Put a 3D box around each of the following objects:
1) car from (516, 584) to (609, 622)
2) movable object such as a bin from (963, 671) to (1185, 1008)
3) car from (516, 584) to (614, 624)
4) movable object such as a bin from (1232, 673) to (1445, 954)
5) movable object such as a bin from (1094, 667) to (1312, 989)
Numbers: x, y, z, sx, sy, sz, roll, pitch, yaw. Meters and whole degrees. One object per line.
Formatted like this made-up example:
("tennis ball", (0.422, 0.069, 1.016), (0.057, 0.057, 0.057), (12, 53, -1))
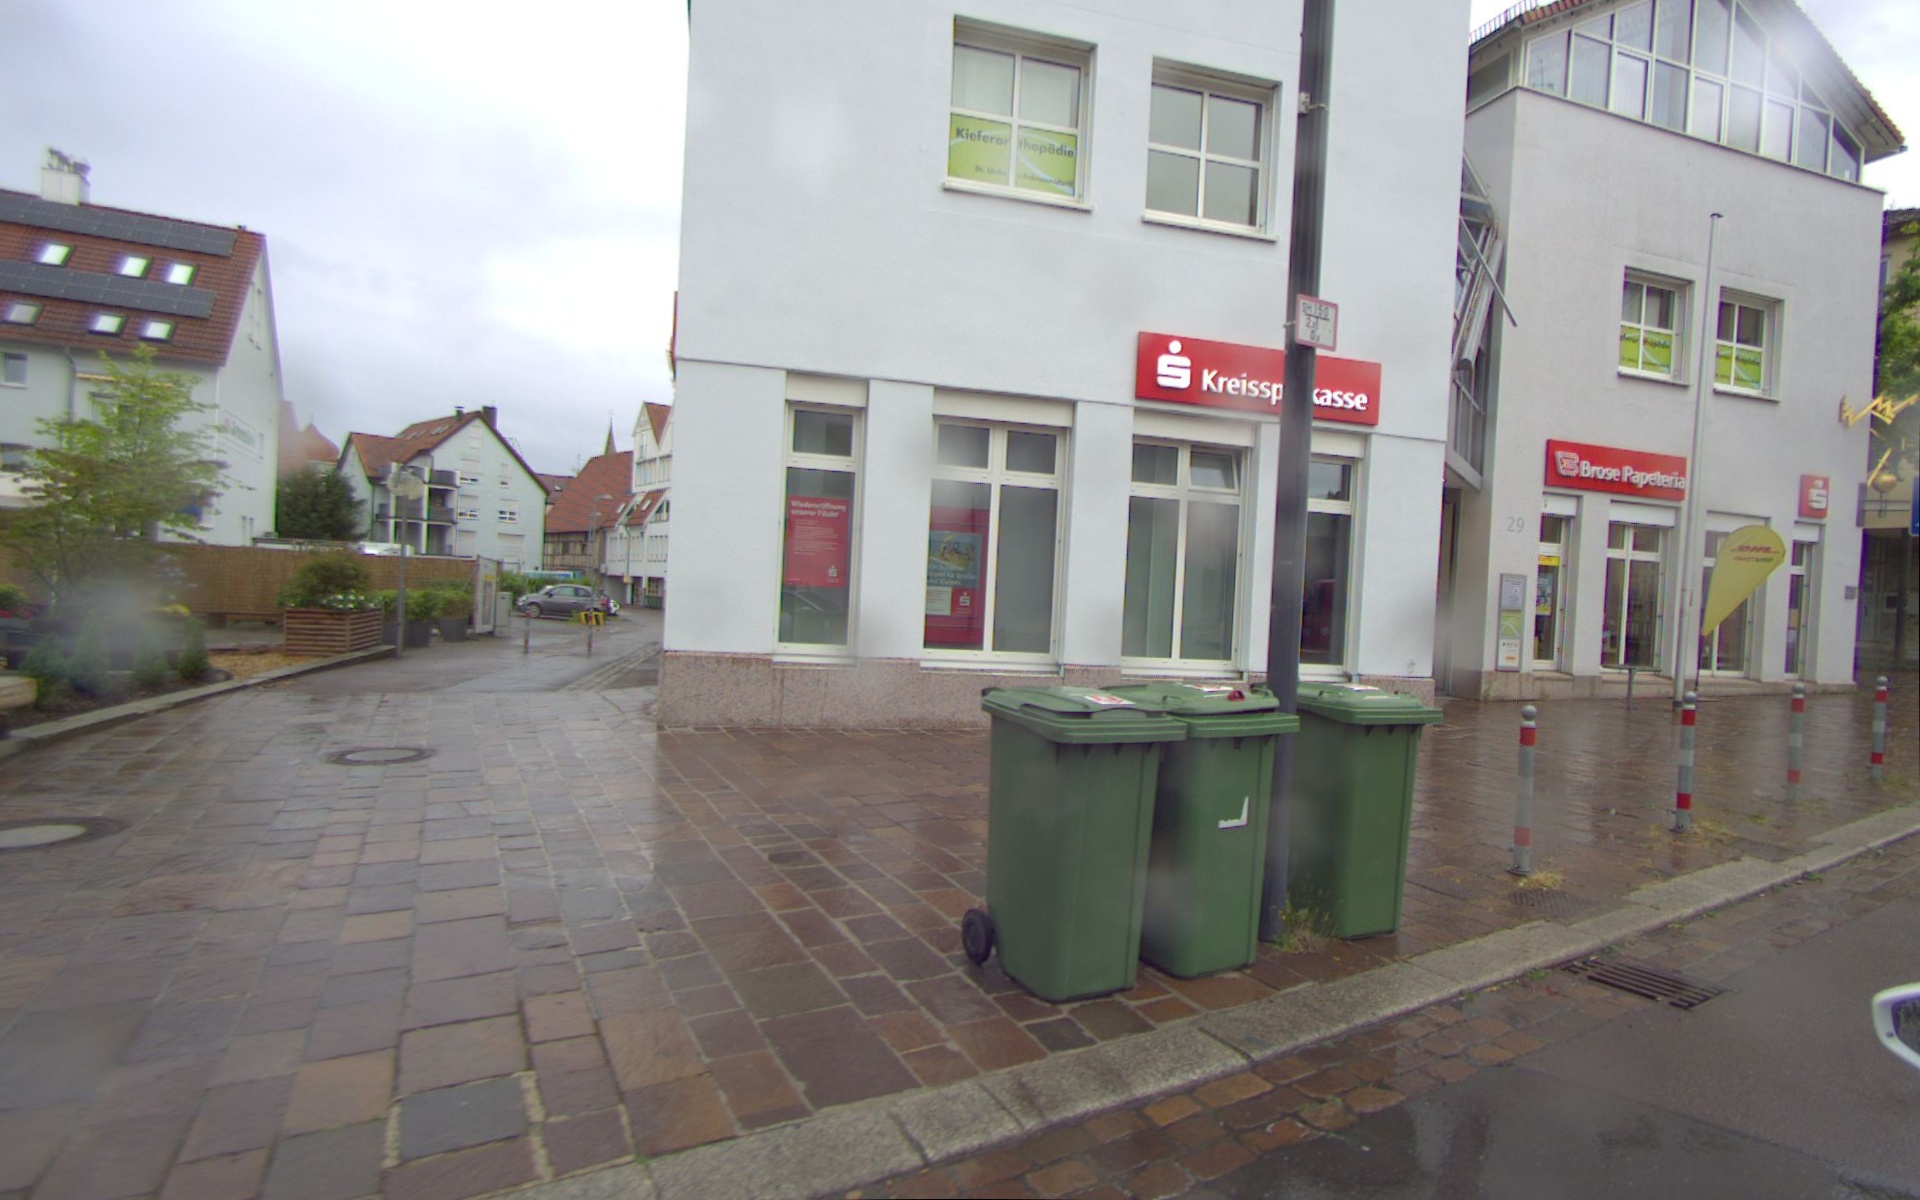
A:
("car", (-16.406, 0.137, 41.657), (3.482, 1.439, 1.606), (2, 0, -20))
("movable object such as a bin", (0.416, 0.844, 3.832), (0.545, 1.097, 0.656), (2, 0, -27))
("car", (-15.467, 0.155, 39.503), (3.482, 1.439, 1.606), (2, 0, -20))
("movable object such as a bin", (1.713, 0.914, 4.586), (0.606, 1.110, 0.655), (2, 0, -29))
("movable object such as a bin", (0.974, 0.862, 4.095), (0.545, 1.129, 0.656), (2, 0, -27))
